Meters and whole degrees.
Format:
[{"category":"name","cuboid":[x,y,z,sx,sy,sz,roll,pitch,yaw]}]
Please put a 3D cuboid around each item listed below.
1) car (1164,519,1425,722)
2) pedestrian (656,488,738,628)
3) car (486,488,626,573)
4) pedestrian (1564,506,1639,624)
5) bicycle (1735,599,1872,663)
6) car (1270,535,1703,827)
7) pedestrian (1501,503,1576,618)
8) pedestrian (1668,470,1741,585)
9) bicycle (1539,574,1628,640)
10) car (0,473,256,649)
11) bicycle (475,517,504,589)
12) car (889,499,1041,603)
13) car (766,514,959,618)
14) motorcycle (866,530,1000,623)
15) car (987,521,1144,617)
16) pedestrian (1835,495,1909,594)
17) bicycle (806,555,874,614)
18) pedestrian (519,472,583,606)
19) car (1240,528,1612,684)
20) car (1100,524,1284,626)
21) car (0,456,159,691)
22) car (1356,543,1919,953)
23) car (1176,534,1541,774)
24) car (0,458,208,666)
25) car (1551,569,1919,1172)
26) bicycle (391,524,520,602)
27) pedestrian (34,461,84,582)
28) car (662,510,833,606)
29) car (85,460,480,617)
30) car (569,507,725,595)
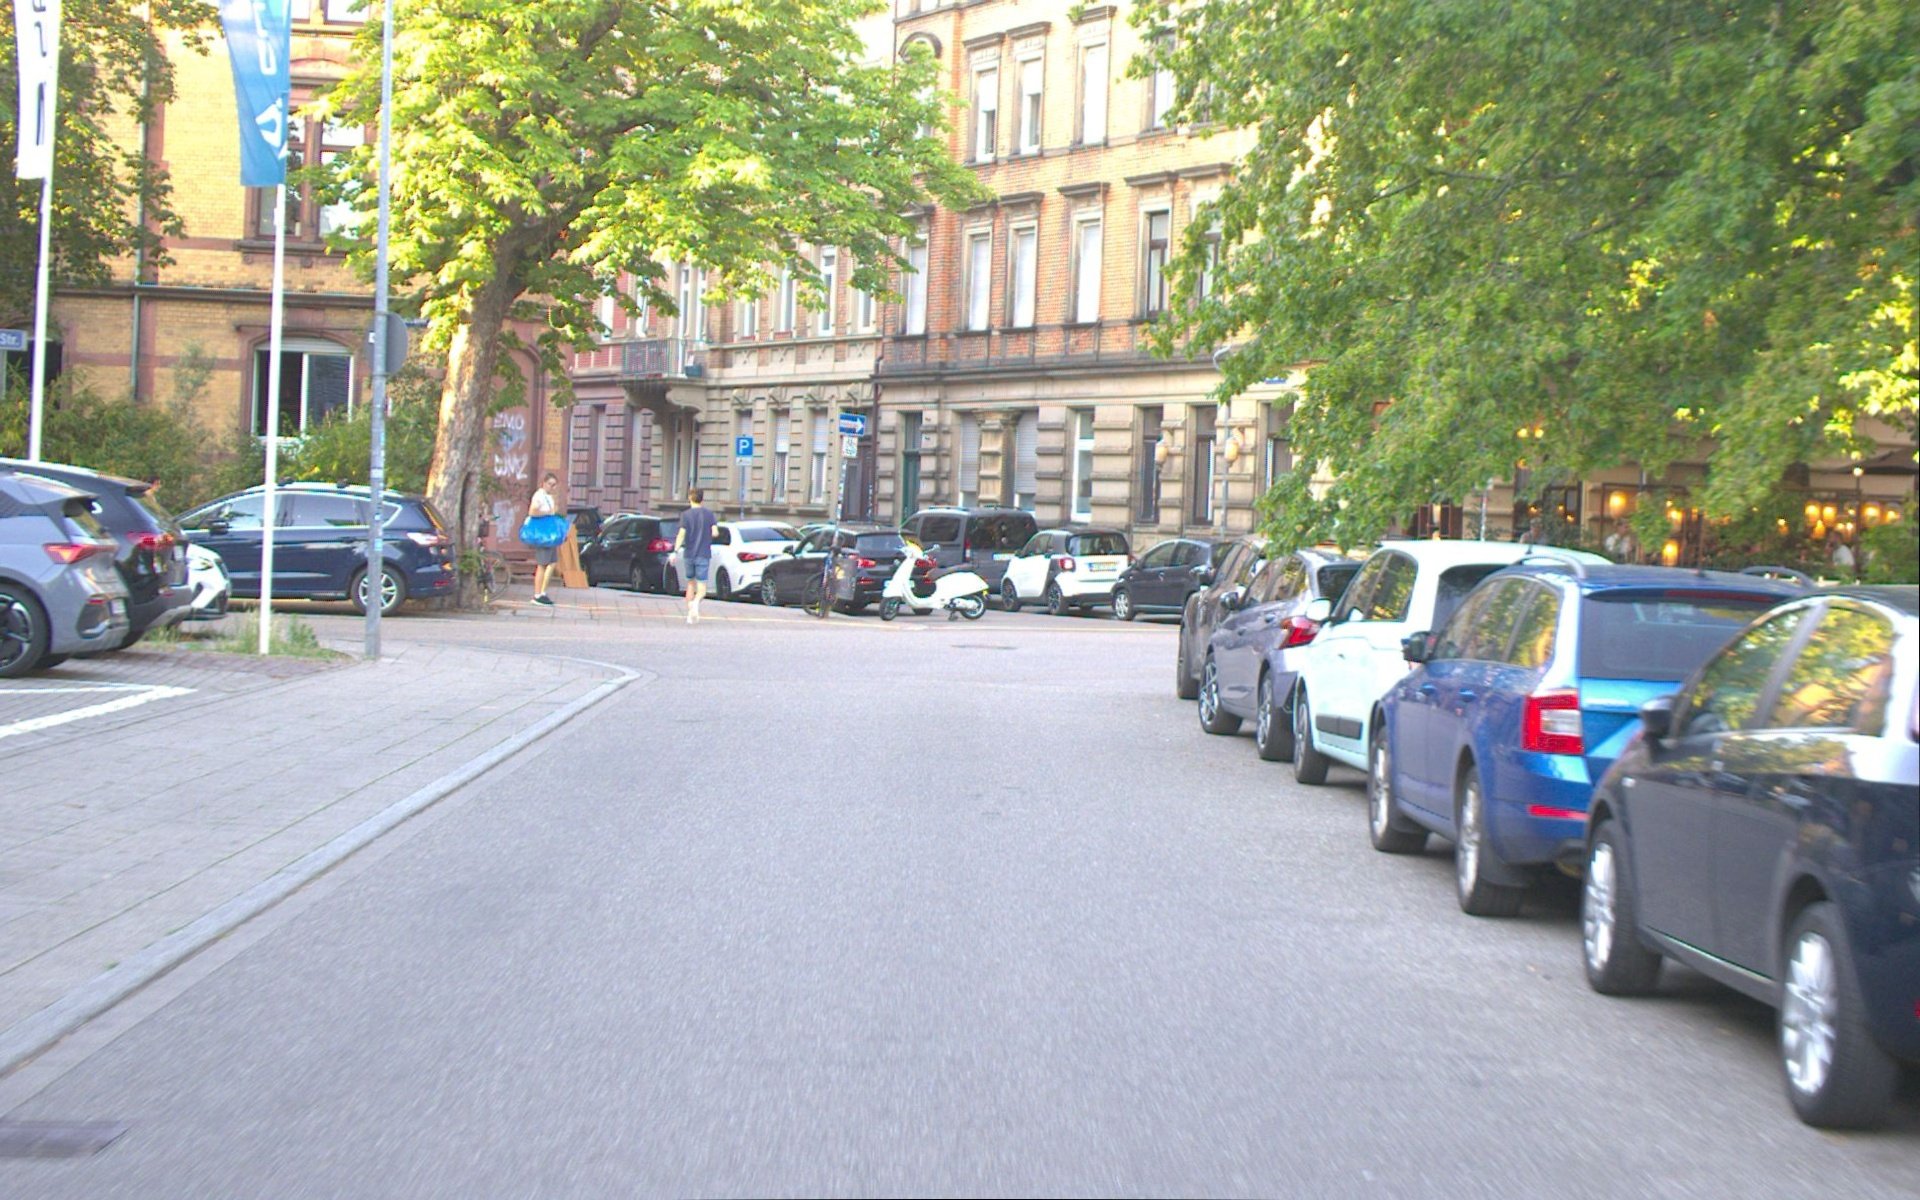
[{"category":"car","cuboid":[2.800,0.118,29.567,1.695,1.565,3.972,2,1,-2]},{"category":"pedestrian","cuboid":[-3.521,-0.568,45.895,0.735,1.797,1.122,1,2,-21]},{"category":"car","cuboid":[-8.280,-1.438,70.257,1.654,1.519,3.897,2,3,-25]},{"category":"pedestrian","cuboid":[10.011,-0.549,53.687,0.773,1.797,0.843,2,2,-15]},{"category":"bicycle","cuboid":[12.470,0.458,50.832,1.967,0.882,0.401,2,2,-14]},{"category":"car","cuboid":[2.975,0.400,20.127,1.695,1.471,3.560,2,1,-4]},{"category":"pedestrian","cuboid":[9.317,-0.646,55.395,0.840,1.797,0.776,1,2,-21]},{"category":"pedestrian","cuboid":[11.836,-1.162,54.649,0.773,1.797,0.843,1,2,-15]},{"category":"bicycle","cuboid":[9.431,0.104,52.010,0.319,0.911,1.364,0,3,-42]},{"category":"car","cuboid":[-9.023,-0.455,33.227,4.044,1.470,1.921,4,2,-4]},{"category":"bicycle","cuboid":[-7.084,-0.717,51.830,0.319,1.024,1.678,2,2,-5]},{"category":"car","cuboid":[0.070,-0.930,64.644,1.674,1.776,3.016,2,2,-25]},{"category":"car","cuboid":[-1.627,-0.576,55.999,1.654,1.426,3.991,2,3,-24]},{"category":"motorcycle","cuboid":[-0.418,-0.364,52.748,1.931,1.336,0.577,2,2,-11]},{"category":"car","cuboid":[1.857,-0.567,61.201,1.674,1.520,2.768,2,2,-25]},{"category":"pedestrian","cuboid":[14.064,-0.855,53.036,0.773,1.476,0.762,2,2,-11]},{"category":"bicycle","cuboid":[-1.762,-0.235,50.703,0.425,0.819,1.460,3,2,21]},{"category":"pedestrian","cuboid":[-5.749,-0.864,48.358,0.815,1.846,0.803,2,2,-5]},{"category":"car","cuboid":[4.975,0.069,36.389,1.880,1.461,3.961,5,3,43]},{"category":"car","cuboid":[3.858,-0.435,57.679,1.674,1.520,3.245,1,2,-25]},{"category":"car","cuboid":[-8.318,-0.334,25.793,4.129,1.612,1.914,4,2,-2]},{"category":"car","cuboid":[2.891,0.534,15.177,1.695,1.471,4.117,2,1,-1]},{"category":"car","cuboid":[2.735,0.316,24.535,1.695,1.471,4.213,2,1,-5]},{"category":"car","cuboid":[-8.500,-0.384,28.679,4.066,1.612,1.766,2,2,-2]},{"category":"car","cuboid":[3.008,0.699,10.630,1.596,1.471,3.774,2,1,-1]},{"category":"bicycle","cuboid":[-6.946,-0.507,47.352,1.671,1.024,0.446,1,2,-24]},{"category":"pedestrian","cuboid":[-12.365,-1.080,47.193,0.542,1.629,0.448,2,2,-5]},{"category":"car","cuboid":[-3.783,-0.755,60.473,1.654,1.426,4.169,2,3,-23]},{"category":"car","cuboid":[-8.731,-0.812,44.658,4.828,1.726,1.921,3,2,-7]},{"category":"car","cuboid":[-5.948,-0.944,64.962,1.654,1.426,3.897,2,3,-25]}]
